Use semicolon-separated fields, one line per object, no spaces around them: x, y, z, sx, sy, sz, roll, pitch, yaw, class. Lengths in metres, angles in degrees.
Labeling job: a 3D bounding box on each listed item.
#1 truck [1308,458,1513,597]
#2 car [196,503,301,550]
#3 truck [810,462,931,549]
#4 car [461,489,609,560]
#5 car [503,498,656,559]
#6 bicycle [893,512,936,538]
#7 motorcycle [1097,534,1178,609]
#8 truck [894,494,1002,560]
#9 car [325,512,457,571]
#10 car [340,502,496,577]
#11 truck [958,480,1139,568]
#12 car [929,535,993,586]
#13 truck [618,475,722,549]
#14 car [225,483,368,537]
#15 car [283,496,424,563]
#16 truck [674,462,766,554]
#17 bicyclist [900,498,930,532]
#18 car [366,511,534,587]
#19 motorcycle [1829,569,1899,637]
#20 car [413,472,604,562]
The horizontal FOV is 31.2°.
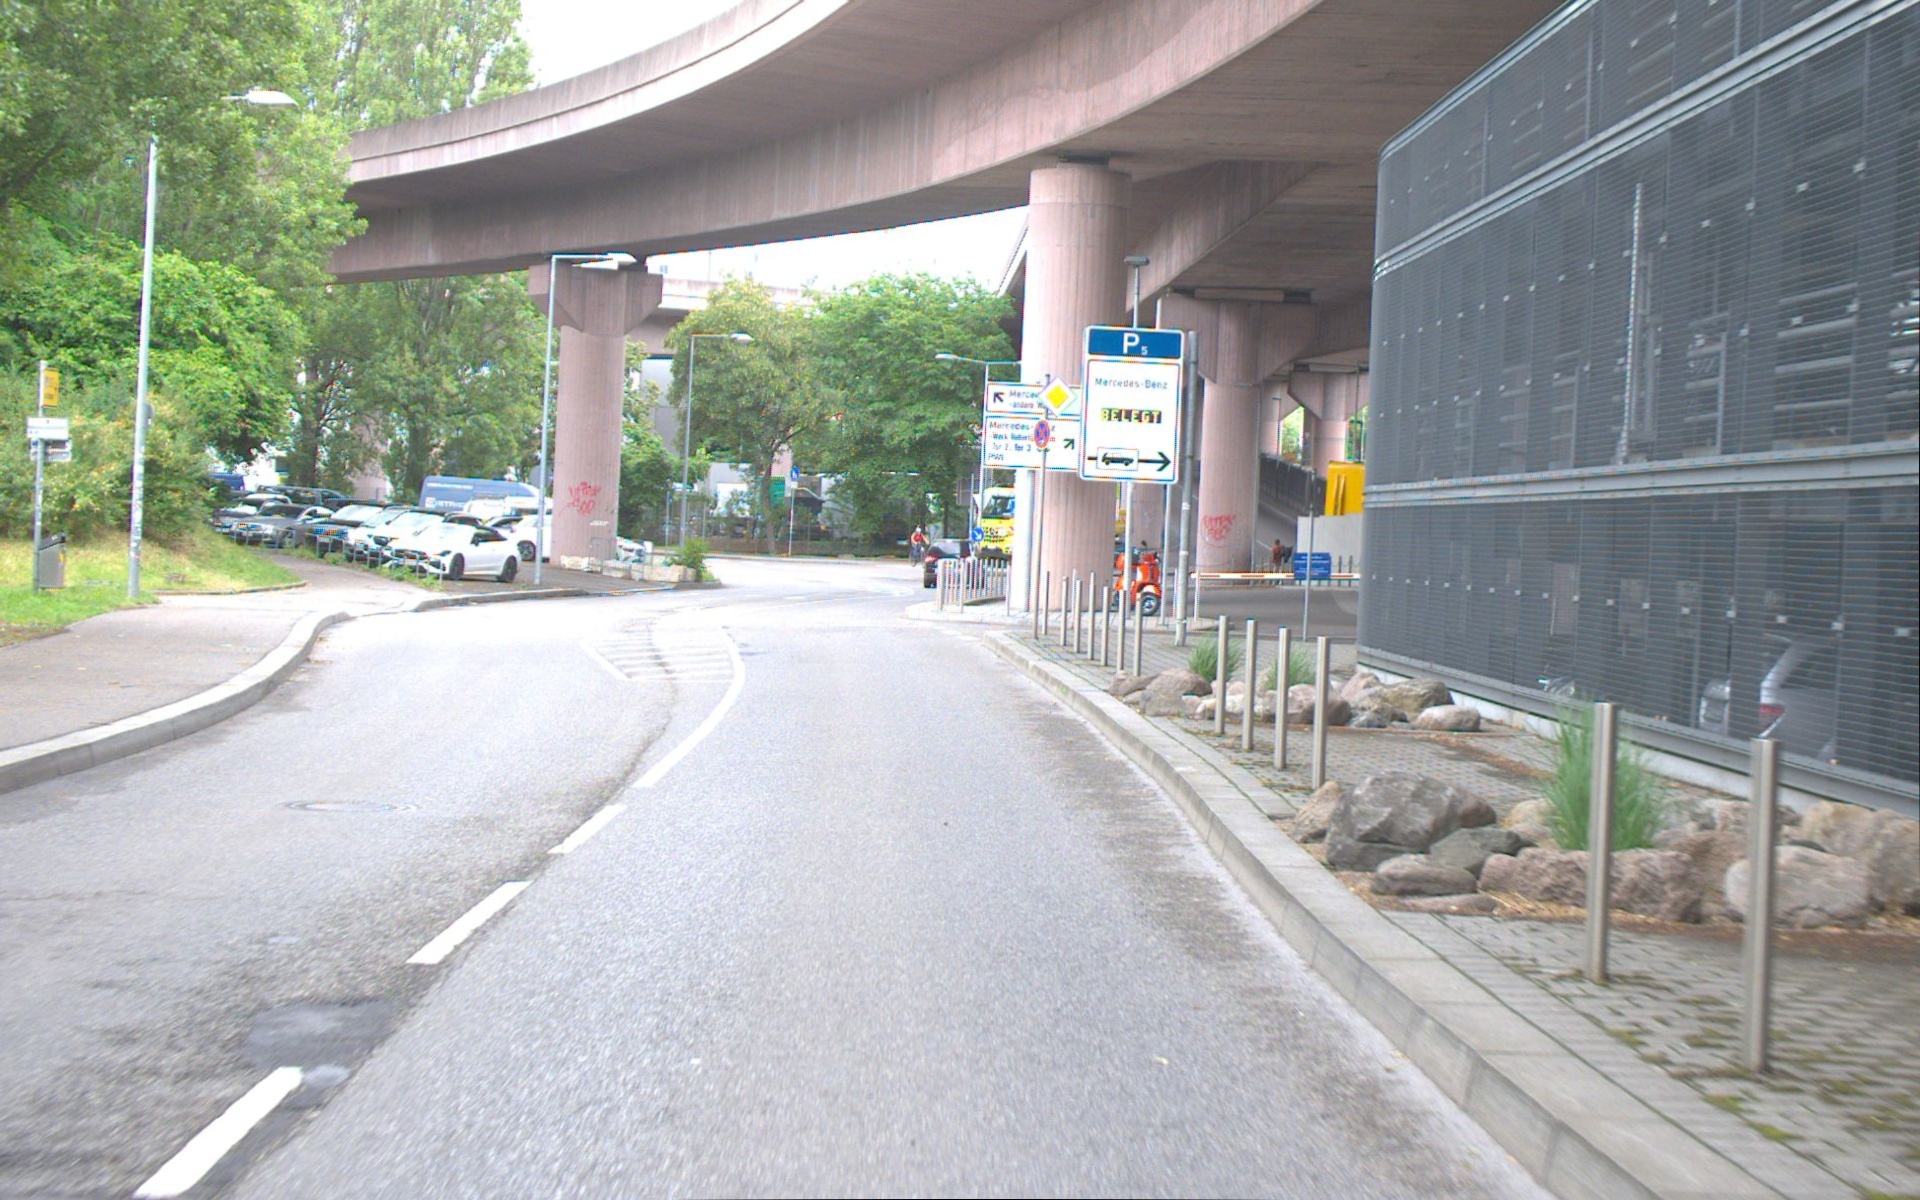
16.989;-2.675;129.273;3.145;4.900;8.696;3;1;41;truck
-22.468;-2.313;108.636;1.645;1.436;3.732;1;1;17;car
-4.362;-4.574;165.041;3.065;3.854;8.051;0;3;-22;truck
-14.338;-2.545;116.146;4.557;2.104;1.850;4;1;7;car
-12.190;-2.280;110.328;4.383;1.600;1.953;5;2;12;car
-1.912;-3.146;144.199;0.802;1.094;2.131;0;1;-32;bicycle
3.363;-0.558;65.383;0.795;1.362;2.130;1;2;-18;motorcycle
-0.613;-3.564;166.535;2.914;2.889;6.561;0;3;-22;truck
-15.409;-1.580;93.250;1.789;1.449;3.742;3;1;22;car
-14.104;-1.560;89.746;1.996;1.577;4.395;7;1;20;car
3.854;-3.314;148.142;2.935;3.469;8.224;7;6;43;truck
0.018;-1.401;120.060;1.993;1.673;4.561;3;1;-2;car
-15.660;-4.779;185.389;3.054;3.606;7.918;1;3;-24;truck
-20.431;-2.764;106.087;1.859;1.482;4.883;5;3;22;car
-16.916;-1.944;96.028;1.859;1.685;4.159;3;1;22;car
-13.256;-5.118;189.072;3.202;4.763;8.052;1;3;-17;truck
-1.876;-3.576;144.142;0.796;1.400;1.066;0;1;-32;bicyclist
-12.678;-1.256;85.812;1.996;1.474;4.823;6;0;19;car
17.706;0.053;67.358;0.571;1.101;2.330;2;5;-4;motorcycle
-15.603;-2.876;119.055;6.175;2.715;2.368;3;1;0;car
